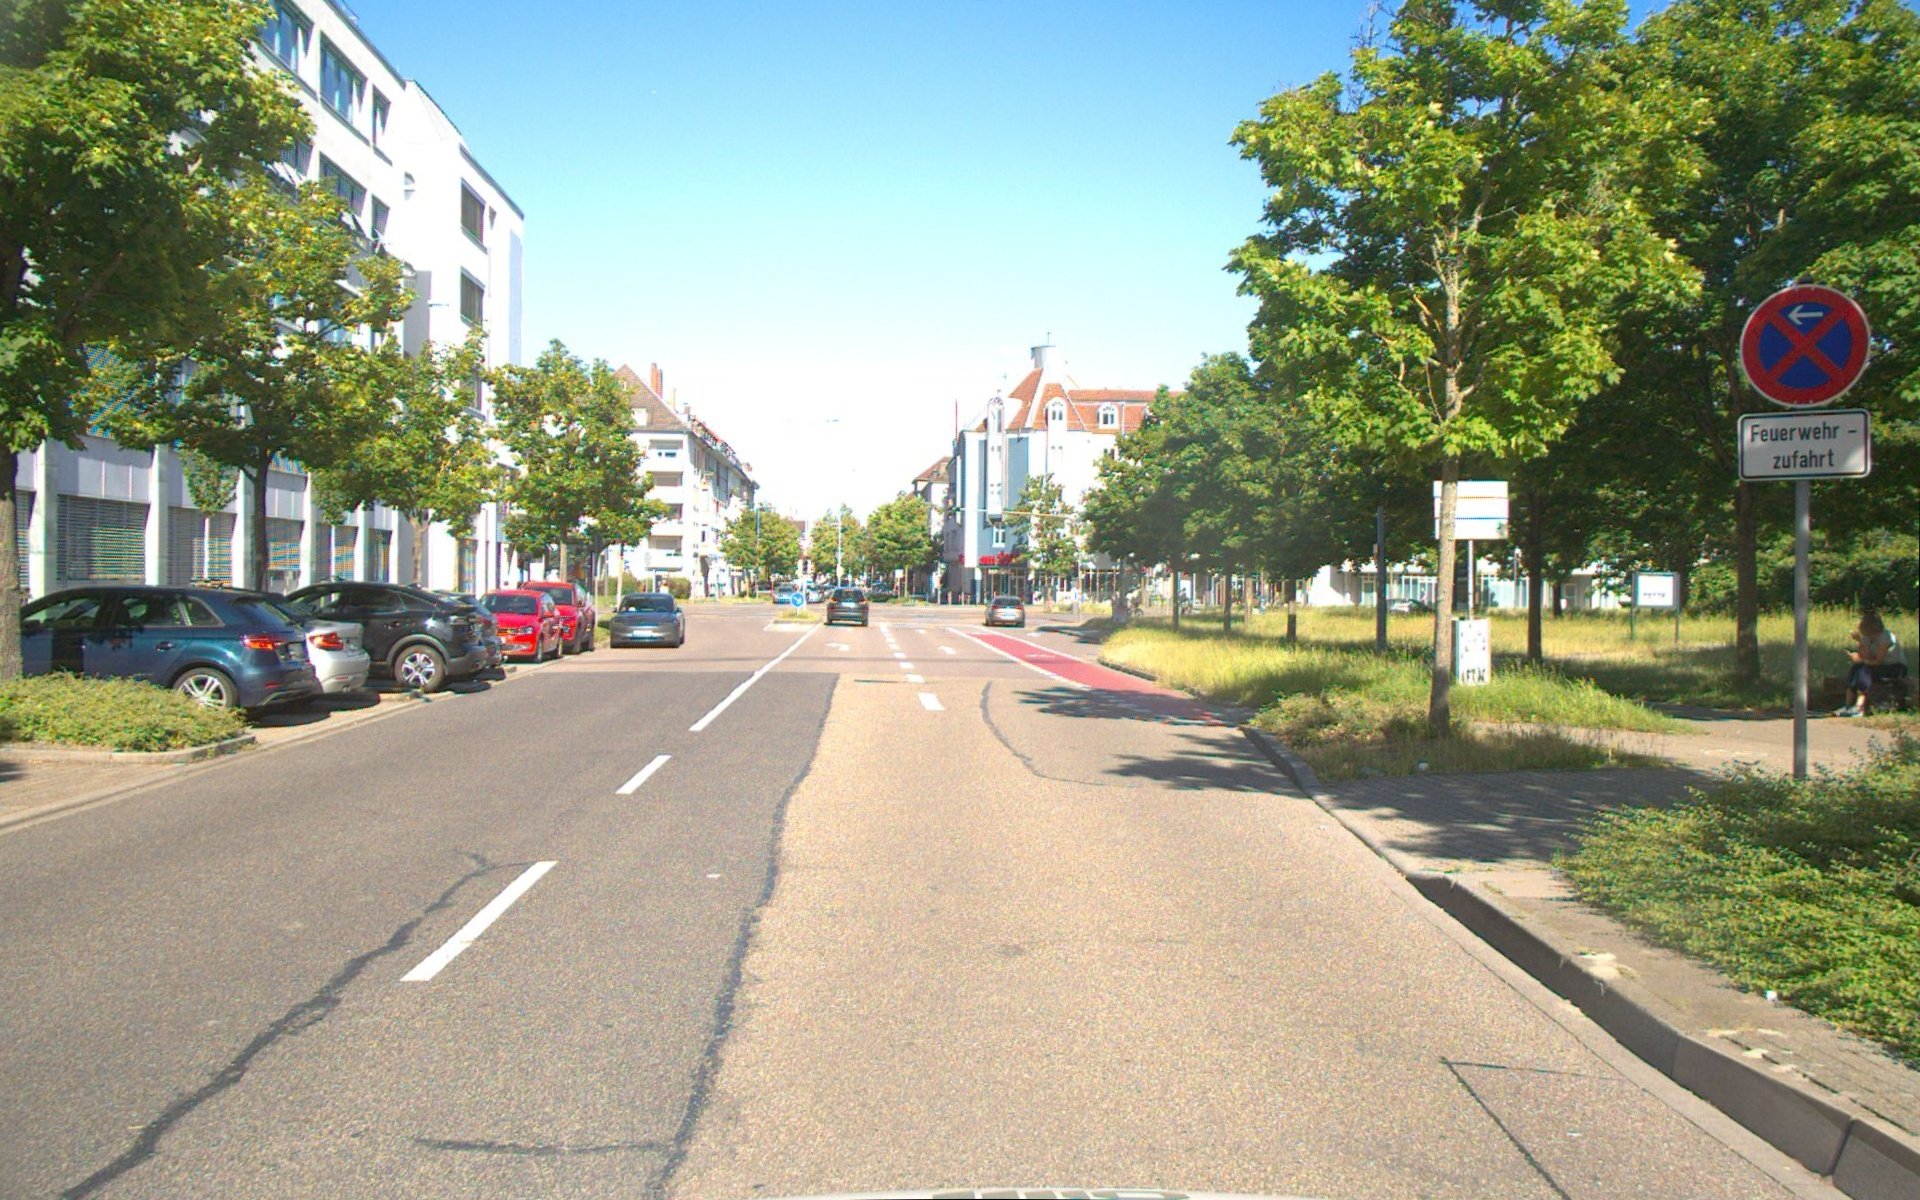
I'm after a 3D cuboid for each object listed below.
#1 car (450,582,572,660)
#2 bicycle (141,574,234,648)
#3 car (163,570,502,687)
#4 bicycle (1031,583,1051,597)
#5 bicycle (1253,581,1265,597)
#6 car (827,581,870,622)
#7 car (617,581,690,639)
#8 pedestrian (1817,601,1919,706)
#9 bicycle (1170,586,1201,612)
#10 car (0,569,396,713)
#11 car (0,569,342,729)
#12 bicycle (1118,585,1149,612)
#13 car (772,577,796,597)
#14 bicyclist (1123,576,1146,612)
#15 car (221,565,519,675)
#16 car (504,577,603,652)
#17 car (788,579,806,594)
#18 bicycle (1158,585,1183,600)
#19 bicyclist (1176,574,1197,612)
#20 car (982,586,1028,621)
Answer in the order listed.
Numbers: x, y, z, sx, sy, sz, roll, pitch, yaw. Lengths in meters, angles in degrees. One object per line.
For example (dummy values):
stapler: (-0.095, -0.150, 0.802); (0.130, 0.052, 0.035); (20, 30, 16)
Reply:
car: (-9.331, 0.398, 34.644); (1.655, 1.457, 3.869); (3, 0, -4)
bicycle: (-14.928, 0.194, 32.025); (0.694, 1.371, 2.233); (-1, 0, 2)
car: (-9.095, 0.407, 24.279); (4.302, 1.457, 1.691); (3, 0, -7)
bicycle: (6.195, -0.771, 126.701); (1.479, 1.045, 0.473); (0, 1, 6)
bicycle: (24.114, -0.891, 133.273); (0.549, 1.203, 1.869); (0, 1, -3)
car: (-4.850, 0.029, 72.101); (1.719, 1.656, 4.475); (3, 0, -4)
car: (-8.425, 0.235, 45.751); (1.656, 1.494, 4.541); (0, 1, -7)
pedestrian: (11.156, 0.640, 20.332); (0.831, 1.238, 0.725); (-1, 0, -16)
bicycle: (12.049, -0.065, 88.261); (0.776, 1.371, 2.256); (0, 1, 33)
car: (-9.236, 0.464, 19.864); (4.299, 1.457, 1.692); (3, 0, -5)
car: (-8.974, 0.475, 17.394); (4.303, 1.457, 1.691); (3, 0, -8)
bicycle: (9.158, -0.078, 87.057); (0.776, 1.371, 2.073); (0, 1, 33)
car: (-14.974, -1.108, 140.582); (1.719, 1.583, 3.729); (3, 0, -3)
bicyclist: (9.175, -0.323, 87.081); (0.776, 1.856, 1.132); (0, 1, 34)
car: (-9.638, 0.318, 27.295); (4.304, 1.564, 1.690); (3, 0, -9)
car: (-9.737, 0.308, 39.888); (1.655, 1.635, 4.305); (3, 0, -6)
car: (-18.237, -1.550, 184.884); (1.719, 1.583, 3.729); (3, 0, -3)
bicycle: (16.761, -0.585, 131.670); (1.829, 1.203, 0.561); (0, 1, -9)
bicyclist: (12.103, -0.372, 88.330); (0.776, 1.993, 1.008); (0, 1, 34)
car: (2.188, 0.157, 80.809); (1.656, 1.605, 3.866); (3, 0, -7)
